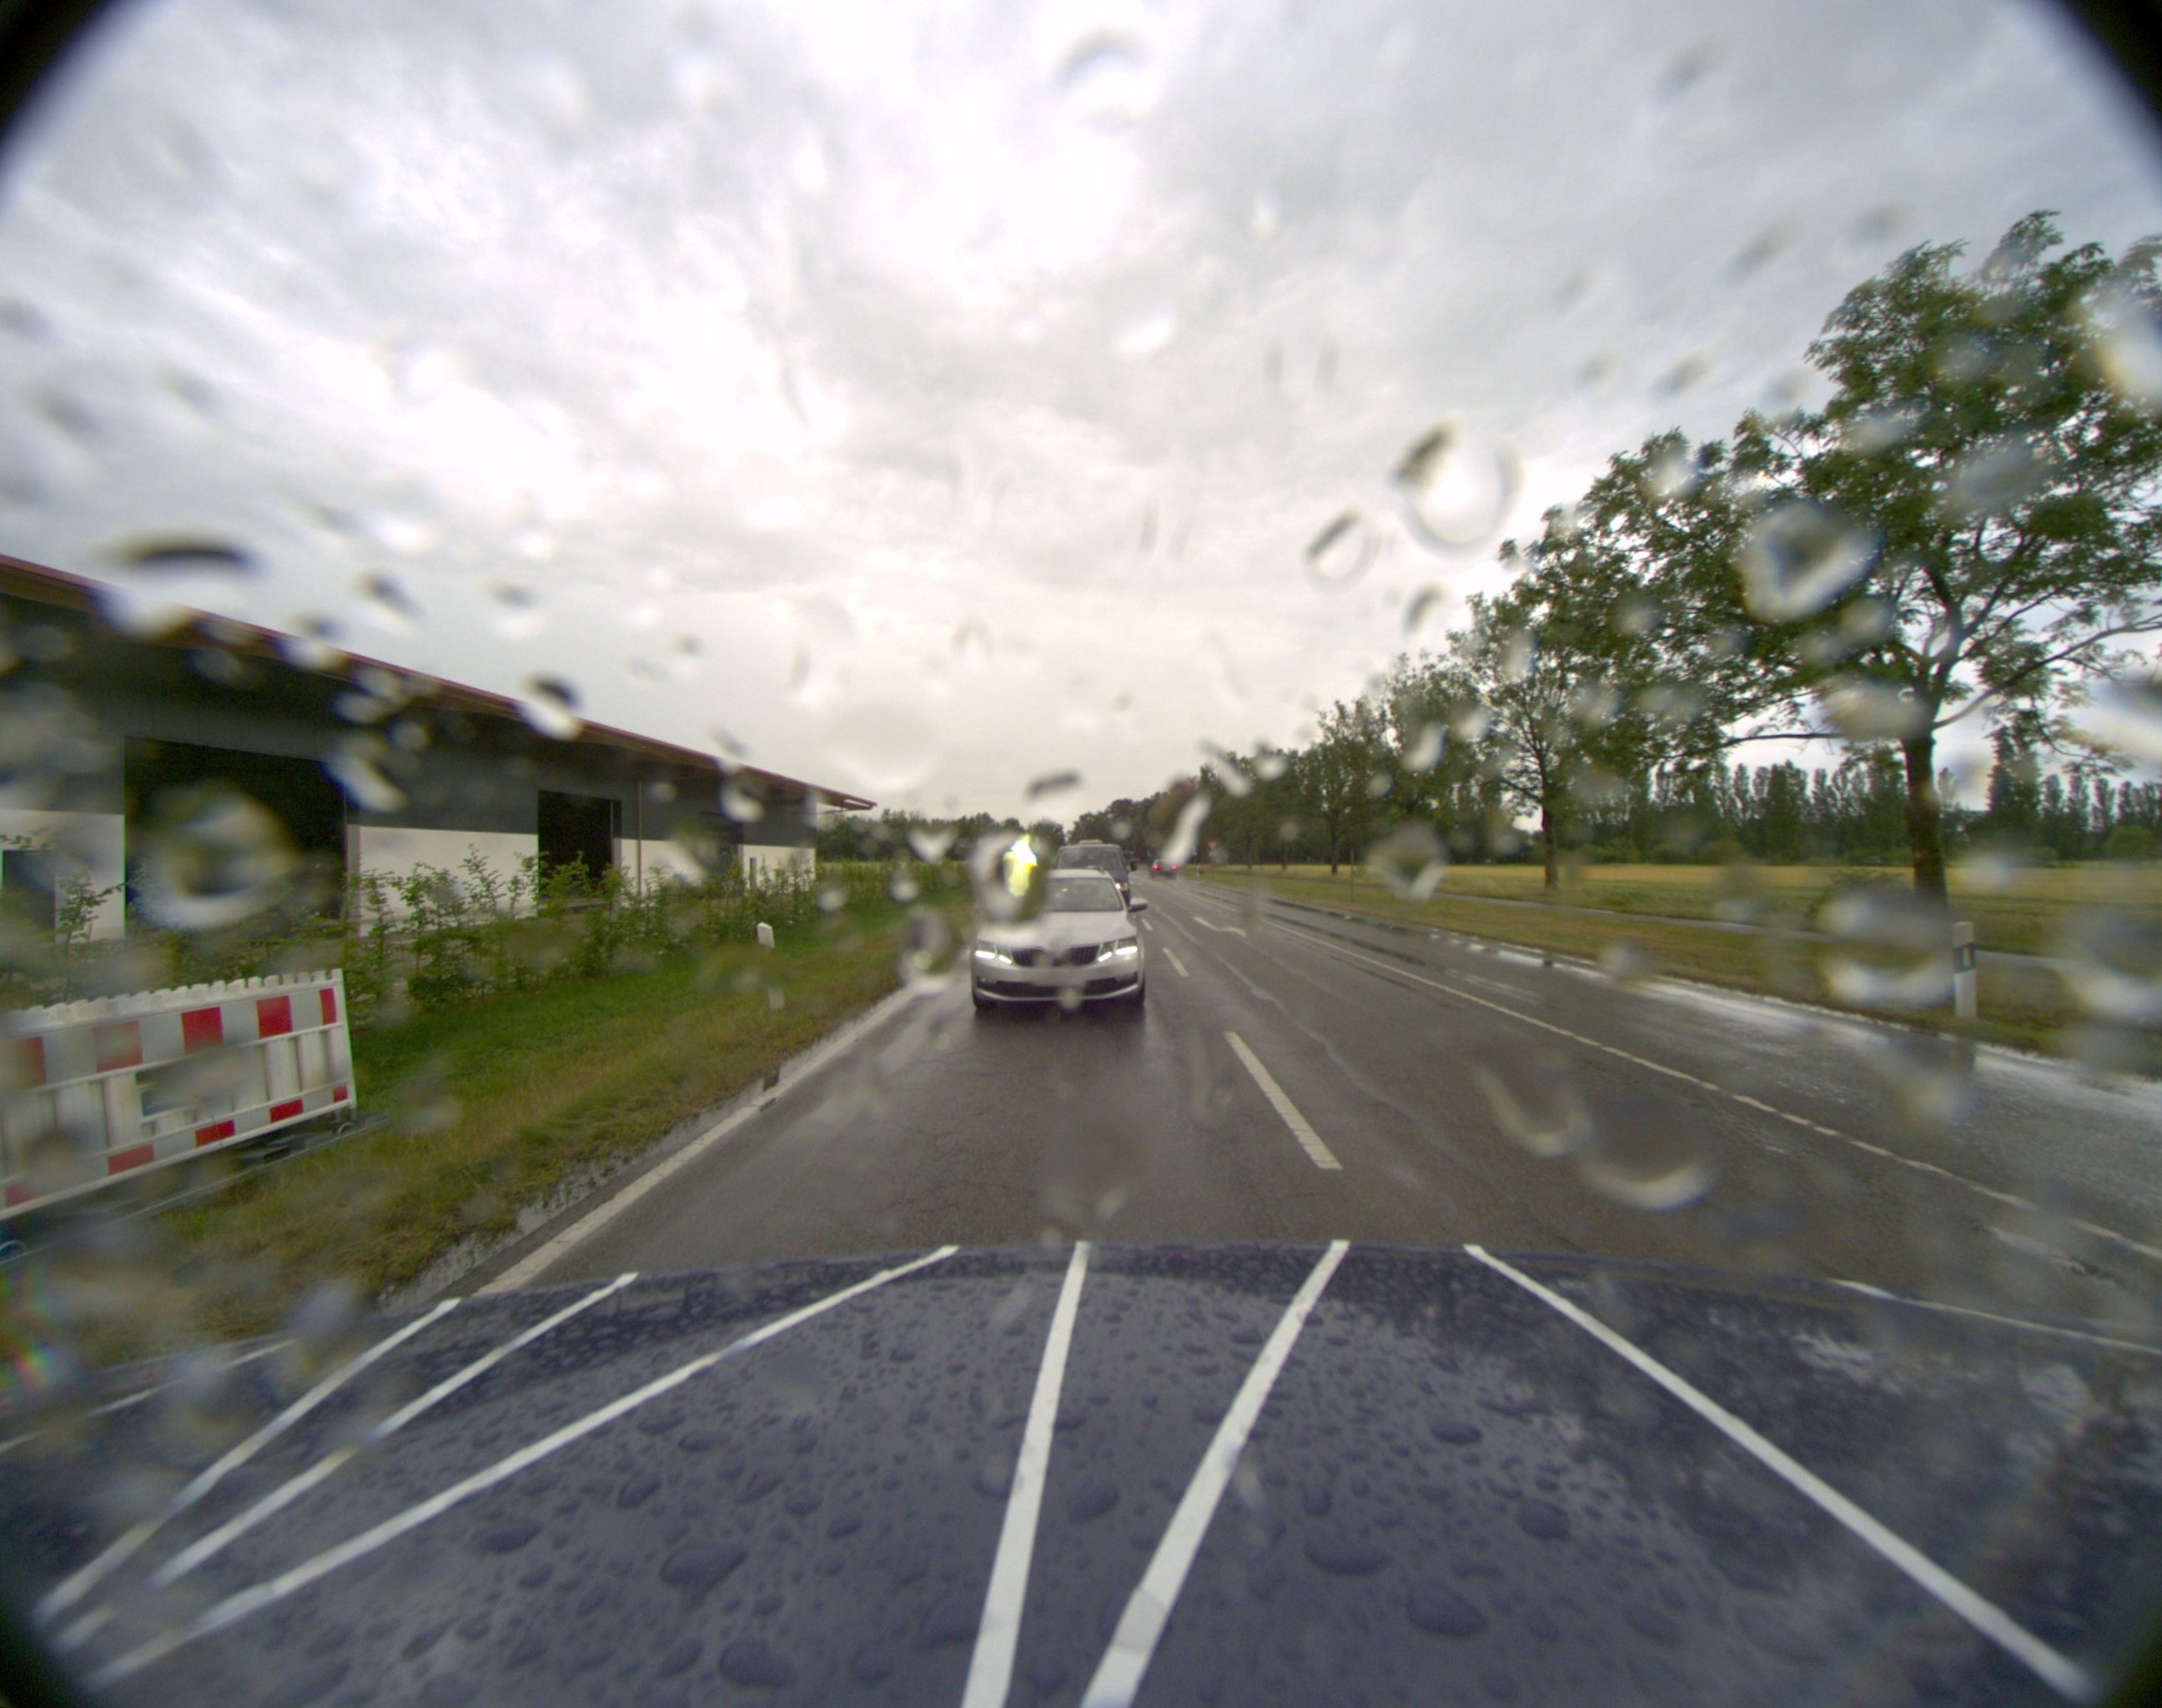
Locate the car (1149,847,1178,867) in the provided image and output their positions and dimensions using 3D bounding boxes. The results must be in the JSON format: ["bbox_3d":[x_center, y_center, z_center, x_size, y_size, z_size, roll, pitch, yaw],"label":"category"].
[{"bbox_3d":[6.190,0.224,57.294,1.724,1.396,4.043,1,1,0],"label":"car"}]

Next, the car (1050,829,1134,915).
[{"bbox_3d":[0.272,0.386,19.238,1.892,1.939,4.000,0,1,1],"label":"car"}]

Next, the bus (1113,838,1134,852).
[{"bbox_3d":[9.682,-2.072,173.390,2.955,2.895,12.485,1,1,12],"label":"bus"}]

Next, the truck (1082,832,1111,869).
[{"bbox_3d":[1.676,-0.419,84.707,2.931,3.829,14.119,0,1,1],"label":"truck"}]

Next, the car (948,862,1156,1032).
[{"bbox_3d":[-0.235,0.871,9.217,1.843,1.379,4.568,-2,1,1],"label":"car"}]

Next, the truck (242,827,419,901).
[{"bbox_3d":[-33.051,0.386,33.769,2.496,2.996,5.343,0,1,1],"label":"truck"}]

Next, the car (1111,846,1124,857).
[{"bbox_3d":[6.182,-0.403,129.435,1.921,1.851,4.684,1,1,0],"label":"car"}]

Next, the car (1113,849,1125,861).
[{"bbox_3d":[5.857,0.163,116.302,1.708,1.661,4.156,2,1,2],"label":"car"}]
